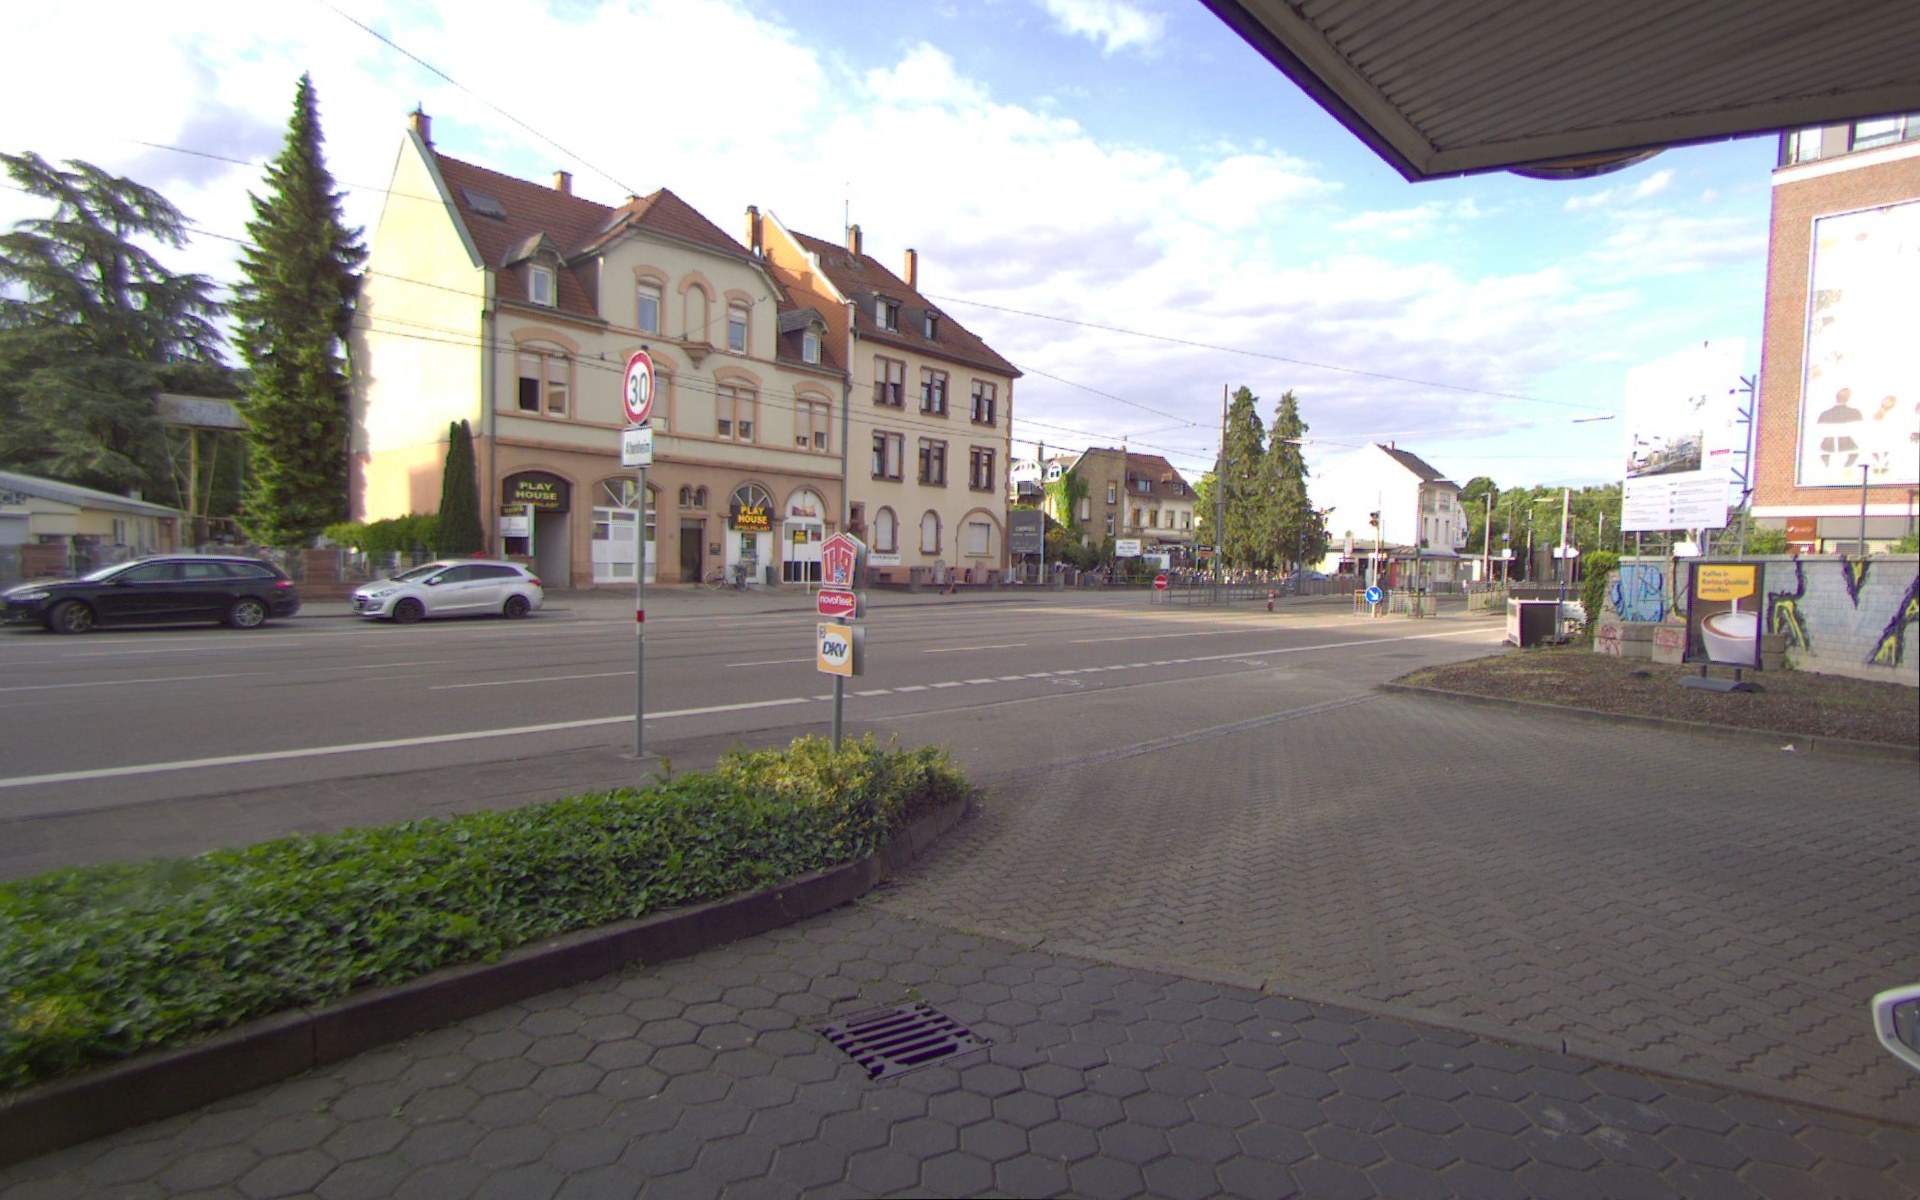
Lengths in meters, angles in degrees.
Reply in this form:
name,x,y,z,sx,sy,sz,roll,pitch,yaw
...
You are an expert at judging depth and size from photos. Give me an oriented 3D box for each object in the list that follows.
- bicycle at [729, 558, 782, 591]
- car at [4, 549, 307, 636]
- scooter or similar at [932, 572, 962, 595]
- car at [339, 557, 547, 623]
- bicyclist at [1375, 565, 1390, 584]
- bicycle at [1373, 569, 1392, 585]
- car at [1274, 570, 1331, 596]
name,x,y,z,sx,sy,sz,roll,pitch,yaw
bicycle,-8.255,-1.014,40.625,0.741,1.219,2.011,8,5,41
car,-16.495,-0.182,20.815,1.827,1.542,4.642,5,4,40
scooter or similar,-0.574,-0.727,45.090,0.437,1.006,1.460,6,5,41
car,-12.937,-0.259,25.354,1.718,1.502,4.357,3,2,41
bicyclist,34.098,-2.076,81.048,0.741,1.428,0.916,8,6,42
bicycle,34.067,-1.824,81.032,0.741,1.219,1.811,8,6,42
car,20.714,-1.044,60.706,1.836,1.489,4.118,3,3,40
